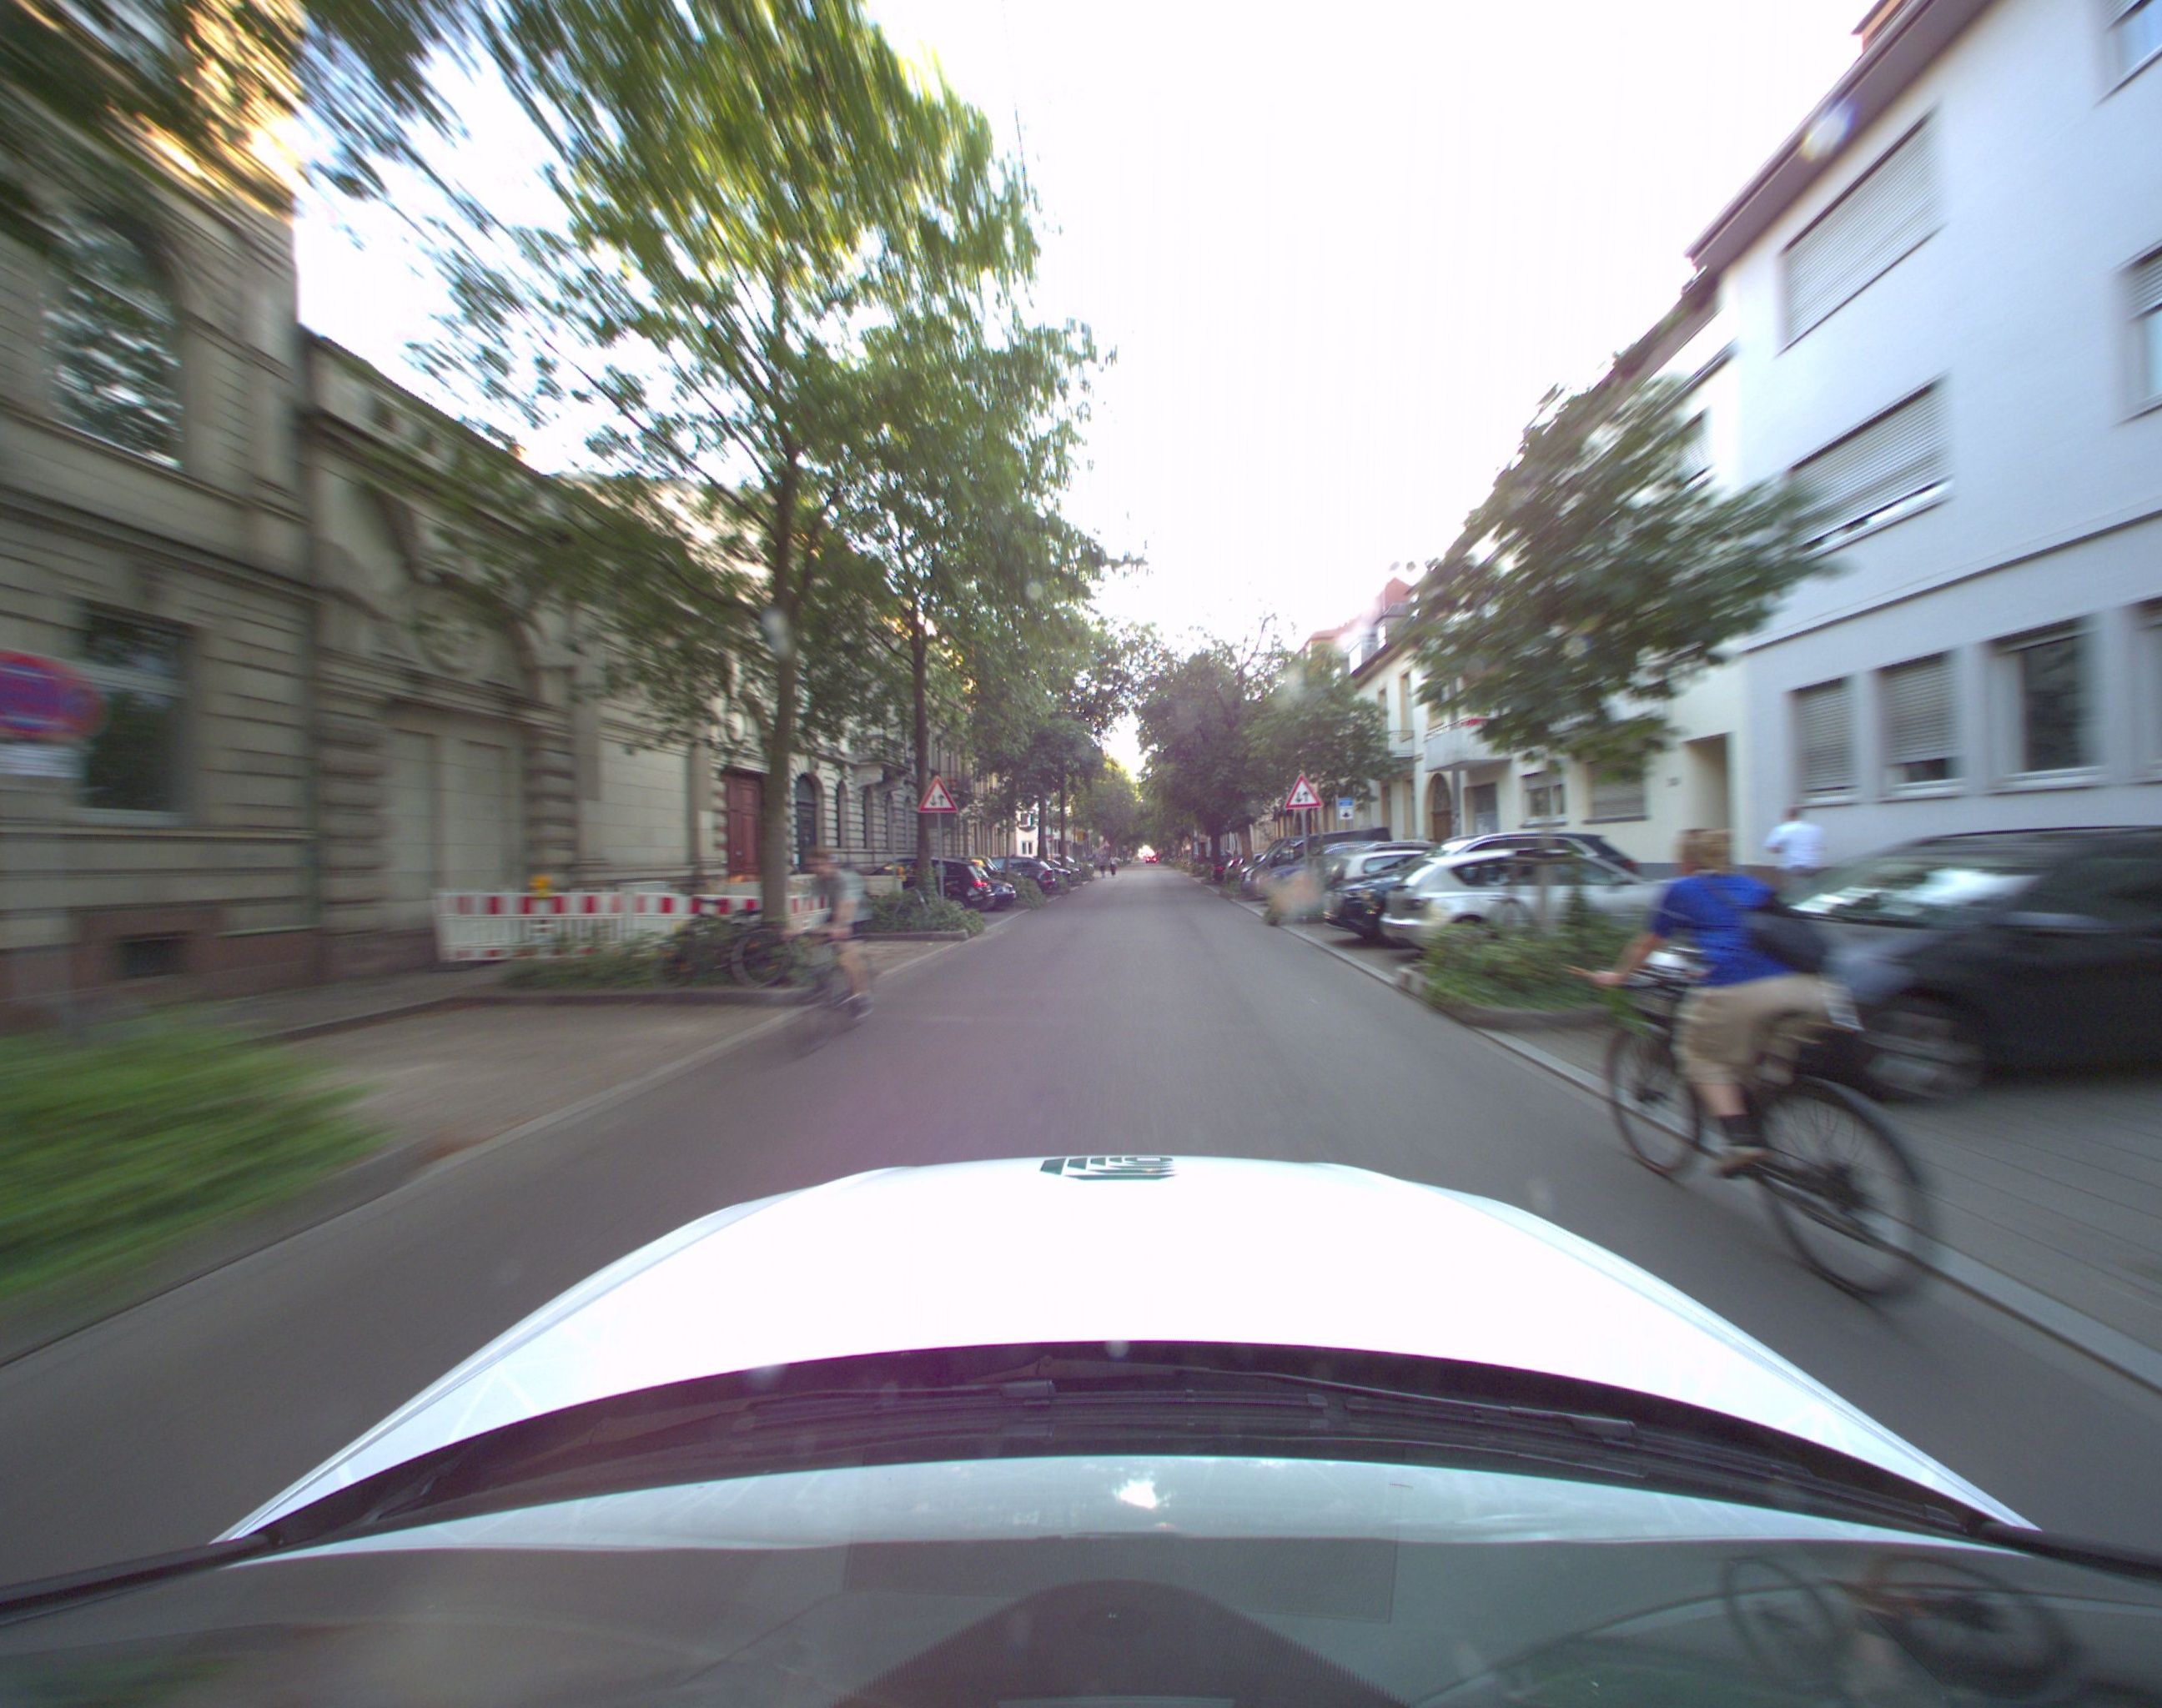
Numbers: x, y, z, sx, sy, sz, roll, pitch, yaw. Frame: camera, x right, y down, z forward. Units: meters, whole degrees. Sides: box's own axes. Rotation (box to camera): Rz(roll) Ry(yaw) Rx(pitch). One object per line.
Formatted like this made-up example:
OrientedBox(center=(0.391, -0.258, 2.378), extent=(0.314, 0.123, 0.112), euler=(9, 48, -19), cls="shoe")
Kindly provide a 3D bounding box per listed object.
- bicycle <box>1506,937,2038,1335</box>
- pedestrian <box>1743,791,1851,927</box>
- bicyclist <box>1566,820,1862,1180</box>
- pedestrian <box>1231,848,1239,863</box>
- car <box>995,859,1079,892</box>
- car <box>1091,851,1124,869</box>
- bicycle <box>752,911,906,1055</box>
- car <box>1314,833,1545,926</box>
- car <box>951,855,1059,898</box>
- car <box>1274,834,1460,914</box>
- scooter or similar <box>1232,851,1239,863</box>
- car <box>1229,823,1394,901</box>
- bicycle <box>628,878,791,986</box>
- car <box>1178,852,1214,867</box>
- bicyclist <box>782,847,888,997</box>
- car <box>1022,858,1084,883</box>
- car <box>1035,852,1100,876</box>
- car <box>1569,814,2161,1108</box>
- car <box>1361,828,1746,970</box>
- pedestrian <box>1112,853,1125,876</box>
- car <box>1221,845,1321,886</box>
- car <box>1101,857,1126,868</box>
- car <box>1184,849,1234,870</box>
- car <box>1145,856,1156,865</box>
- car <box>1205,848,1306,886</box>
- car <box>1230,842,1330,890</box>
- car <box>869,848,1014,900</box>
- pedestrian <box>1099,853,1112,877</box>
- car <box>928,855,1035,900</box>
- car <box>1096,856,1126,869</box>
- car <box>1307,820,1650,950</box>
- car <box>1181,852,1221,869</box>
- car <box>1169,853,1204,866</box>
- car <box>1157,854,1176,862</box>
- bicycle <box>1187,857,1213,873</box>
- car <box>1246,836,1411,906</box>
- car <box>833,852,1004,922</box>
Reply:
OrientedBox(center=(2.635, 0.965, 3.494), extent=(0.669, 1.030, 1.978), euler=(0, -1, 3), cls="bicycle")
OrientedBox(center=(9.982, 0.070, 11.387), extent=(0.694, 1.795, 0.882), euler=(-2, 0, 5), cls="pedestrian")
OrientedBox(center=(2.638, 0.556, 3.492), extent=(0.669, 1.363, 0.777), euler=(0, -1, 2), cls="bicyclist")
OrientedBox(center=(15.387, 0.160, 81.491), extent=(0.651, 1.536, 0.832), euler=(-3, -1, 5), cls="pedestrian")
OrientedBox(center=(-2.137, 1.068, 40.557), extent=(3.928, 1.532, 1.909), euler=(-1, -1, 3), cls="car")
OrientedBox(center=(3.985, 0.909, 121.873), extent=(4.661, 2.478, 2.002), euler=(-2, -1, 4), cls="car")
OrientedBox(center=(-2.178, 1.084, 7.311), extent=(0.669, 0.993, 1.761), euler=(-2, 0, 5), cls="bicycle")
OrientedBox(center=(6.799, 0.494, 16.190), extent=(3.777, 1.423, 1.699), euler=(-5, -1, 3), cls="car")
OrientedBox(center=(-3.087, 0.905, 33.625), extent=(4.182, 1.672, 1.910), euler=(0, 0, 4), cls="car")
OrientedBox(center=(7.063, 0.481, 20.453), extent=(3.949, 1.578, 1.853), euler=(-5, -1, 3), cls="car")
OrientedBox(center=(15.336, 0.336, 80.840), extent=(0.651, 1.153, 0.832), euler=(-3, -1, 5), cls="scooter or similar")
OrientedBox(center=(7.339, 0.245, 26.292), extent=(4.669, 2.011, 2.039), euler=(-5, -1, 3), cls="car")
OrientedBox(center=(-4.399, 0.913, 9.658), extent=(1.760, 1.232, 0.501), euler=(-1, -2, 9), cls="bicycle")
OrientedBox(center=(12.098, 0.571, 85.908), extent=(3.470, 1.452, 1.900), euler=(-3, 0, 2), cls="car")
OrientedBox(center=(-2.193, 0.586, 7.316), extent=(0.669, 1.263, 0.649), euler=(-2, 0, 4), cls="bicyclist")
OrientedBox(center=(-1.700, 0.992, 50.399), extent=(3.676, 1.458, 1.875), euler=(0, 0, 3), cls="car")
OrientedBox(center=(-0.950, 0.722, 57.776), extent=(4.404, 1.651, 1.875), euler=(0, 0, 5), cls="car")
OrientedBox(center=(5.929, 0.558, 5.345), extent=(4.297, 1.496, 1.796), euler=(-3, -1, 3), cls="car")
OrientedBox(center=(6.160, 0.575, 11.070), extent=(4.053, 1.429, 1.821), euler=(-5, -1, 6), cls="car")
OrientedBox(center=(2.713, 0.749, 58.863), extent=(0.791, 1.670, 0.832), euler=(-3, -1, 4), cls="pedestrian")
OrientedBox(center=(8.412, 0.519, 36.330), extent=(3.971, 1.437, 1.928), euler=(-5, -1, 3), cls="car")
OrientedBox(center=(5.730, 1.454, 141.980), extent=(4.184, 1.635, 1.965), euler=(-3, -1, 4), cls="car")
OrientedBox(center=(11.622, 0.488, 74.168), extent=(4.404, 1.656, 1.902), euler=(-2, 0, 5), cls="car")
OrientedBox(center=(13.701, 1.271, 160.729), extent=(1.947, 1.565, 4.288), euler=(-3, -1, 5), cls="car")
OrientedBox(center=(8.274, 0.611, 38.866), extent=(4.383, 1.394, 1.887), euler=(-5, -1, 2), cls="car")
OrientedBox(center=(8.181, 0.491, 33.731), extent=(3.663, 1.578, 1.716), euler=(-5, -1, 5), cls="car")
OrientedBox(center=(-4.132, 0.571, 24.538), extent=(3.946, 1.387, 1.767), euler=(1, 1, 5), cls="car")
OrientedBox(center=(1.785, 0.780, 59.014), extent=(0.791, 1.737, 0.832), euler=(-3, -1, 4), cls="pedestrian")
OrientedBox(center=(-3.777, 0.880, 31.236), extent=(3.785, 1.672, 1.716), euler=(0, 0, 3), cls="car")
OrientedBox(center=(4.977, 1.404, 134.280), extent=(4.661, 1.854, 1.965), euler=(-3, -1, 4), cls="car")
OrientedBox(center=(6.274, 0.483, 13.330), extent=(4.571, 1.578, 1.946), euler=(-5, -1, 3), cls="car")
OrientedBox(center=(11.386, 0.595, 77.306), extent=(3.470, 1.452, 1.900), euler=(-3, 0, 2), cls="car")
OrientedBox(center=(14.520, 0.731, 112.645), extent=(4.694, 1.710, 1.953), euler=(-2, 0, 6), cls="car")
OrientedBox(center=(19.313, 0.877, 183.967), extent=(4.249, 1.565, 1.965), euler=(-3, -1, 4), cls="car")
OrientedBox(center=(9.131, 0.877, 62.672), extent=(1.835, 1.135, 0.743), euler=(-3, 0, -6), cls="bicycle")
OrientedBox(center=(7.084, 0.486, 23.671), extent=(4.139, 1.578, 1.971), euler=(-5, -1, 2), cls="car")
OrientedBox(center=(-4.144, 0.819, 21.165), extent=(3.947, 1.596, 1.783), euler=(2, 0, 4), cls="car")
